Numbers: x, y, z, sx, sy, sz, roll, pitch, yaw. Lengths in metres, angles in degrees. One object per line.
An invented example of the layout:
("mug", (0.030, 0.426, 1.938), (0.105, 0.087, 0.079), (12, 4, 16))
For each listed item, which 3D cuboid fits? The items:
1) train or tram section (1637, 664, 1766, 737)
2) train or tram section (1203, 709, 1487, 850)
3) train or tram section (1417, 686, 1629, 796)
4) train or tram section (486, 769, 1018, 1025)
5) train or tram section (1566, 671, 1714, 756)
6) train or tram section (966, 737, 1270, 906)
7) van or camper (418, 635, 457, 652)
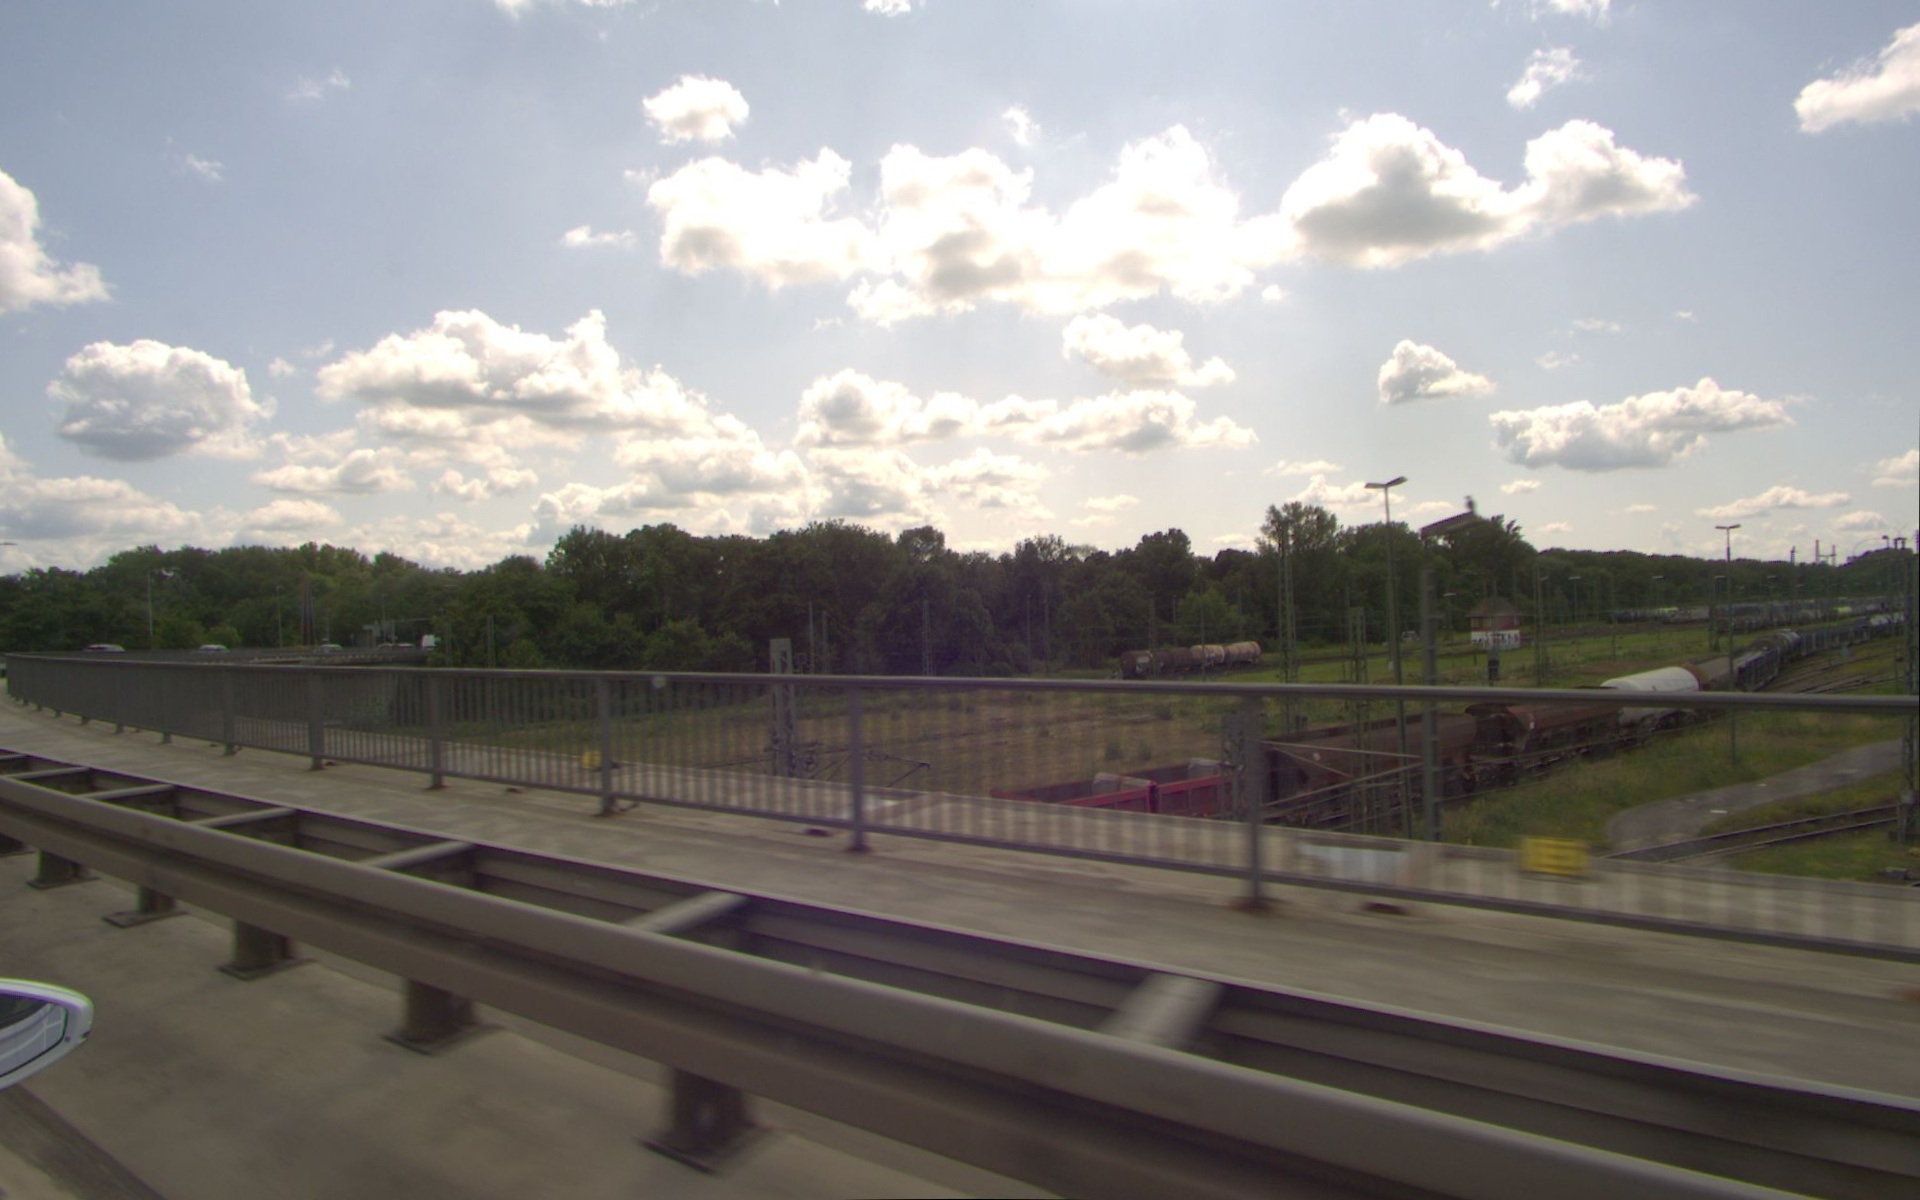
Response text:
("train or tram section", (55.821, 7.337, 75.029), (17.490, 4.203, 3.191), (-1, -4, -39))
("train or tram section", (17.709, 7.584, 44.804), (16.395, 4.203, 3.123), (-1, -4, -36))
("train or tram section", (31.694, 7.449, 55.505), (18.675, 4.203, 3.199), (-1, -4, -39))
("train or tram section", (-5.322, 7.910, 29.025), (14.835, 4.203, 3.114), (-1, -4, -33))
("train or tram section", (45.564, 7.342, 66.649), (16.767, 4.203, 3.196), (-1, -4, -39))
("train or tram section", (6.082, 7.700, 36.671), (11.907, 4.203, 3.113), (-1, -4, -34))
("van or camper", (-71.341, 5.944, 136.857), (2.236, 2.370, 5.244), (0, -2, 4))
